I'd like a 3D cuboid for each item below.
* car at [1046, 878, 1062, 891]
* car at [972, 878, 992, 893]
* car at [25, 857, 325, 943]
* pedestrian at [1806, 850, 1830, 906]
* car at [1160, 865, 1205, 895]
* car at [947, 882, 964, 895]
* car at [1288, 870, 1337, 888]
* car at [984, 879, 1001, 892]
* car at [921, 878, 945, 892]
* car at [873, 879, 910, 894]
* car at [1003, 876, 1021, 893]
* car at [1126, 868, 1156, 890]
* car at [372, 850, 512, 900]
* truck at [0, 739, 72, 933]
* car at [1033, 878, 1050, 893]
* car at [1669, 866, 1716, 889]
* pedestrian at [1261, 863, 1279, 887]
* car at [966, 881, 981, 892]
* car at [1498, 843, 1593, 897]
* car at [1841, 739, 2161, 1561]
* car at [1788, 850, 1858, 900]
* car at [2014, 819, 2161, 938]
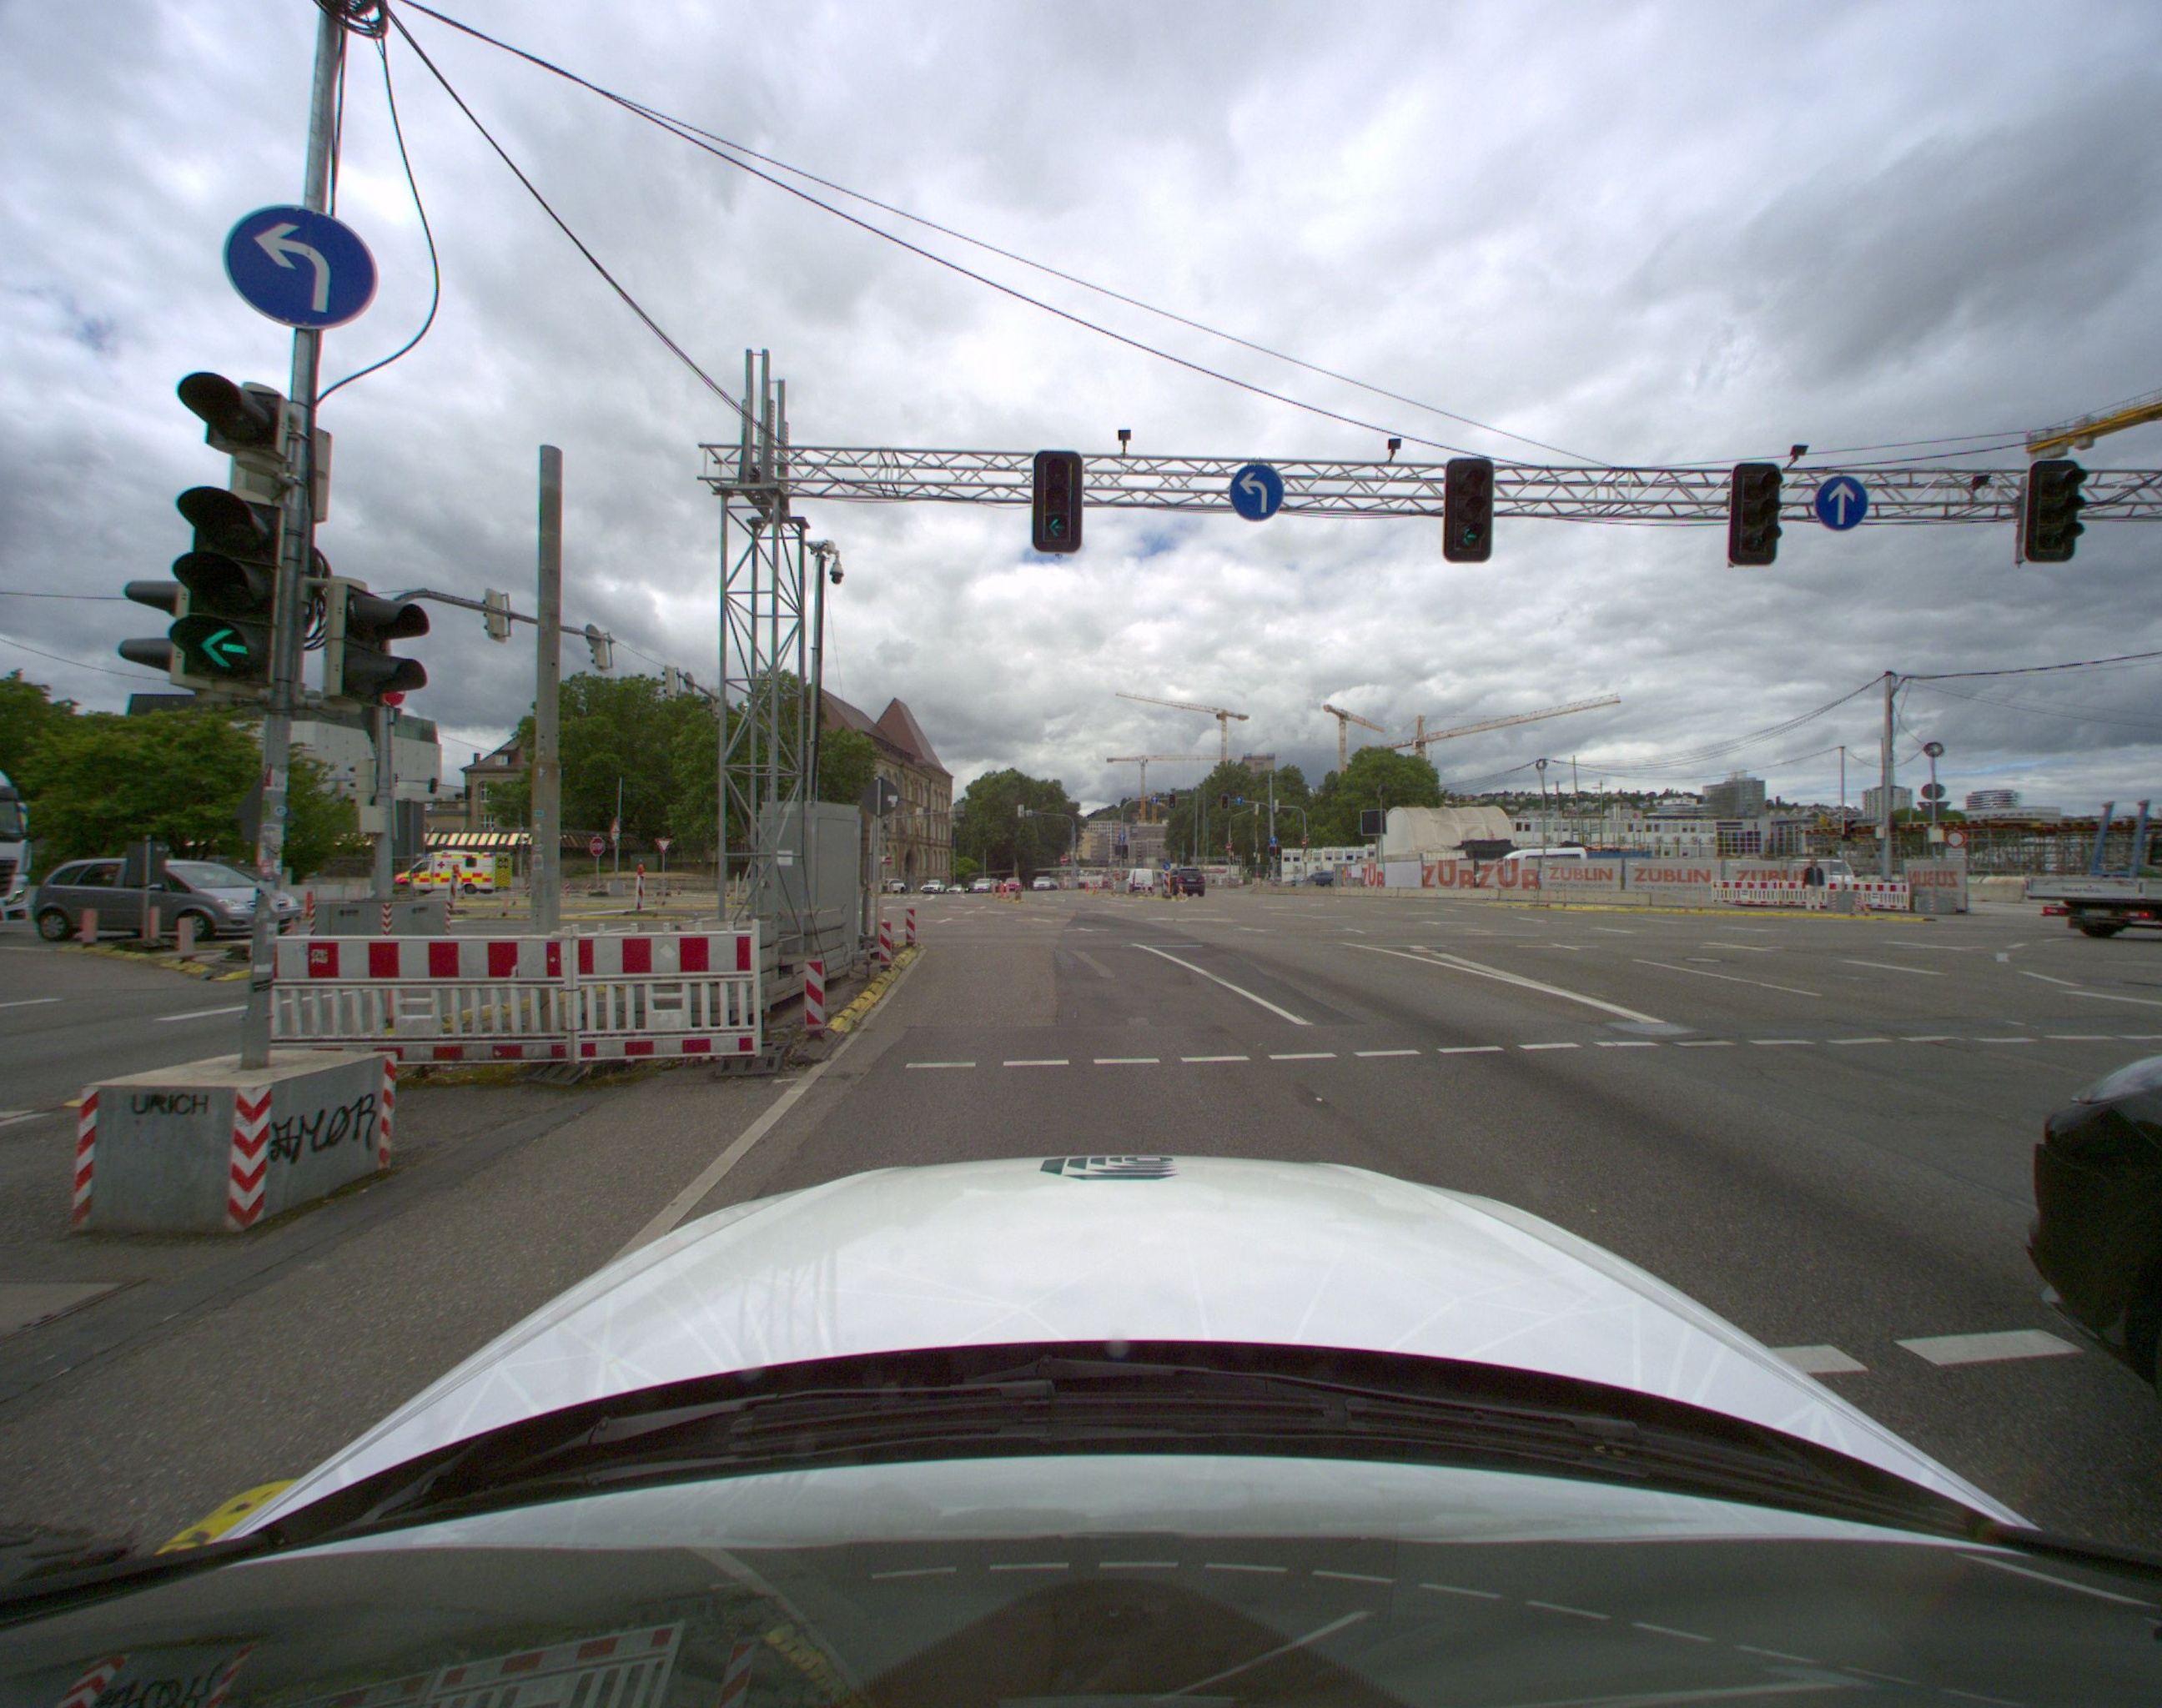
[{"bbox_3d":[-2.974,3.298,88.169,1.672,1.398,3.678,-1,-1,-3],"label":"car"},{"bbox_3d":[-9.951,3.175,82.107,1.672,1.398,3.678,-1,-1,-3],"label":"car"},{"bbox_3d":[-18.314,0.907,16.623,4.040,1.625,1.830,-1,-1,0],"label":"car"},{"bbox_3d":[26.243,0.862,29.004,0.581,1.977,0.437,-1,-1,44],"label":"pedestrian"},{"bbox_3d":[6.185,1.585,50.013,1.830,1.746,4.245,0,-1,-6],"label":"car"},{"bbox_3d":[-15.329,4.219,99.868,1.672,1.398,3.678,-1,-1,-3],"label":"car"},{"bbox_3d":[21.282,2.272,74.838,3.995,1.625,1.813,0,-1,-16],"label":"car"},{"bbox_3d":[-9.568,3.399,88.257,1.672,1.398,3.678,-1,-1,-3],"label":"car"},{"bbox_3d":[-15.644,3.292,86.115,1.669,1.398,3.686,-1,-1,3],"label":"car"},{"bbox_3d":[-17.907,3.062,76.969,1.662,1.398,3.700,-1,-1,19],"label":"car"},{"bbox_3d":[-6.834,3.028,81.057,1.672,1.580,3.678,-1,-1,-3],"label":"car"},{"bbox_3d":[4.584,1.880,62.903,1.813,1.625,3.994,-1,-1,-4],"label":"car"},{"bbox_3d":[-40.644,1.298,51.951,6.729,3.052,2.366,0,-1,-7],"label":"car"},{"bbox_3d":[-25.049,-0.362,16.689,4.862,4.064,2.943,-1,-1,-2],"label":"truck"},{"bbox_3d":[-3.931,3.088,81.145,1.672,1.398,3.678,-1,-1,-3],"label":"car"},{"bbox_3d":[41.551,1.598,55.391,1.661,1.528,4.022,-1,-1,24],"label":"car"},{"bbox_3d":[15.954,1.784,68.603,1.094,2.014,1.181,0,-1,-9],"label":"pedestrian"},{"bbox_3d":[-15.083,4.573,114.426,1.672,1.398,3.678,-1,-1,-3],"label":"car"},{"bbox_3d":[24.049,0.847,42.285,3.956,2.662,1.688,-1,-1,16],"label":"car"},{"bbox_3d":[3.075,0.578,0.145,1.816,1.715,4.487,-1,-1,3],"label":"car"},{"bbox_3d":[30.773,0.853,33.863,1.755,1.954,3.146,-2,-2,35],"label":"car"},{"bbox_3d":[23.533,0.467,16.720,5.730,2.305,2.307,-1,-1,5],"label":"car"}]
